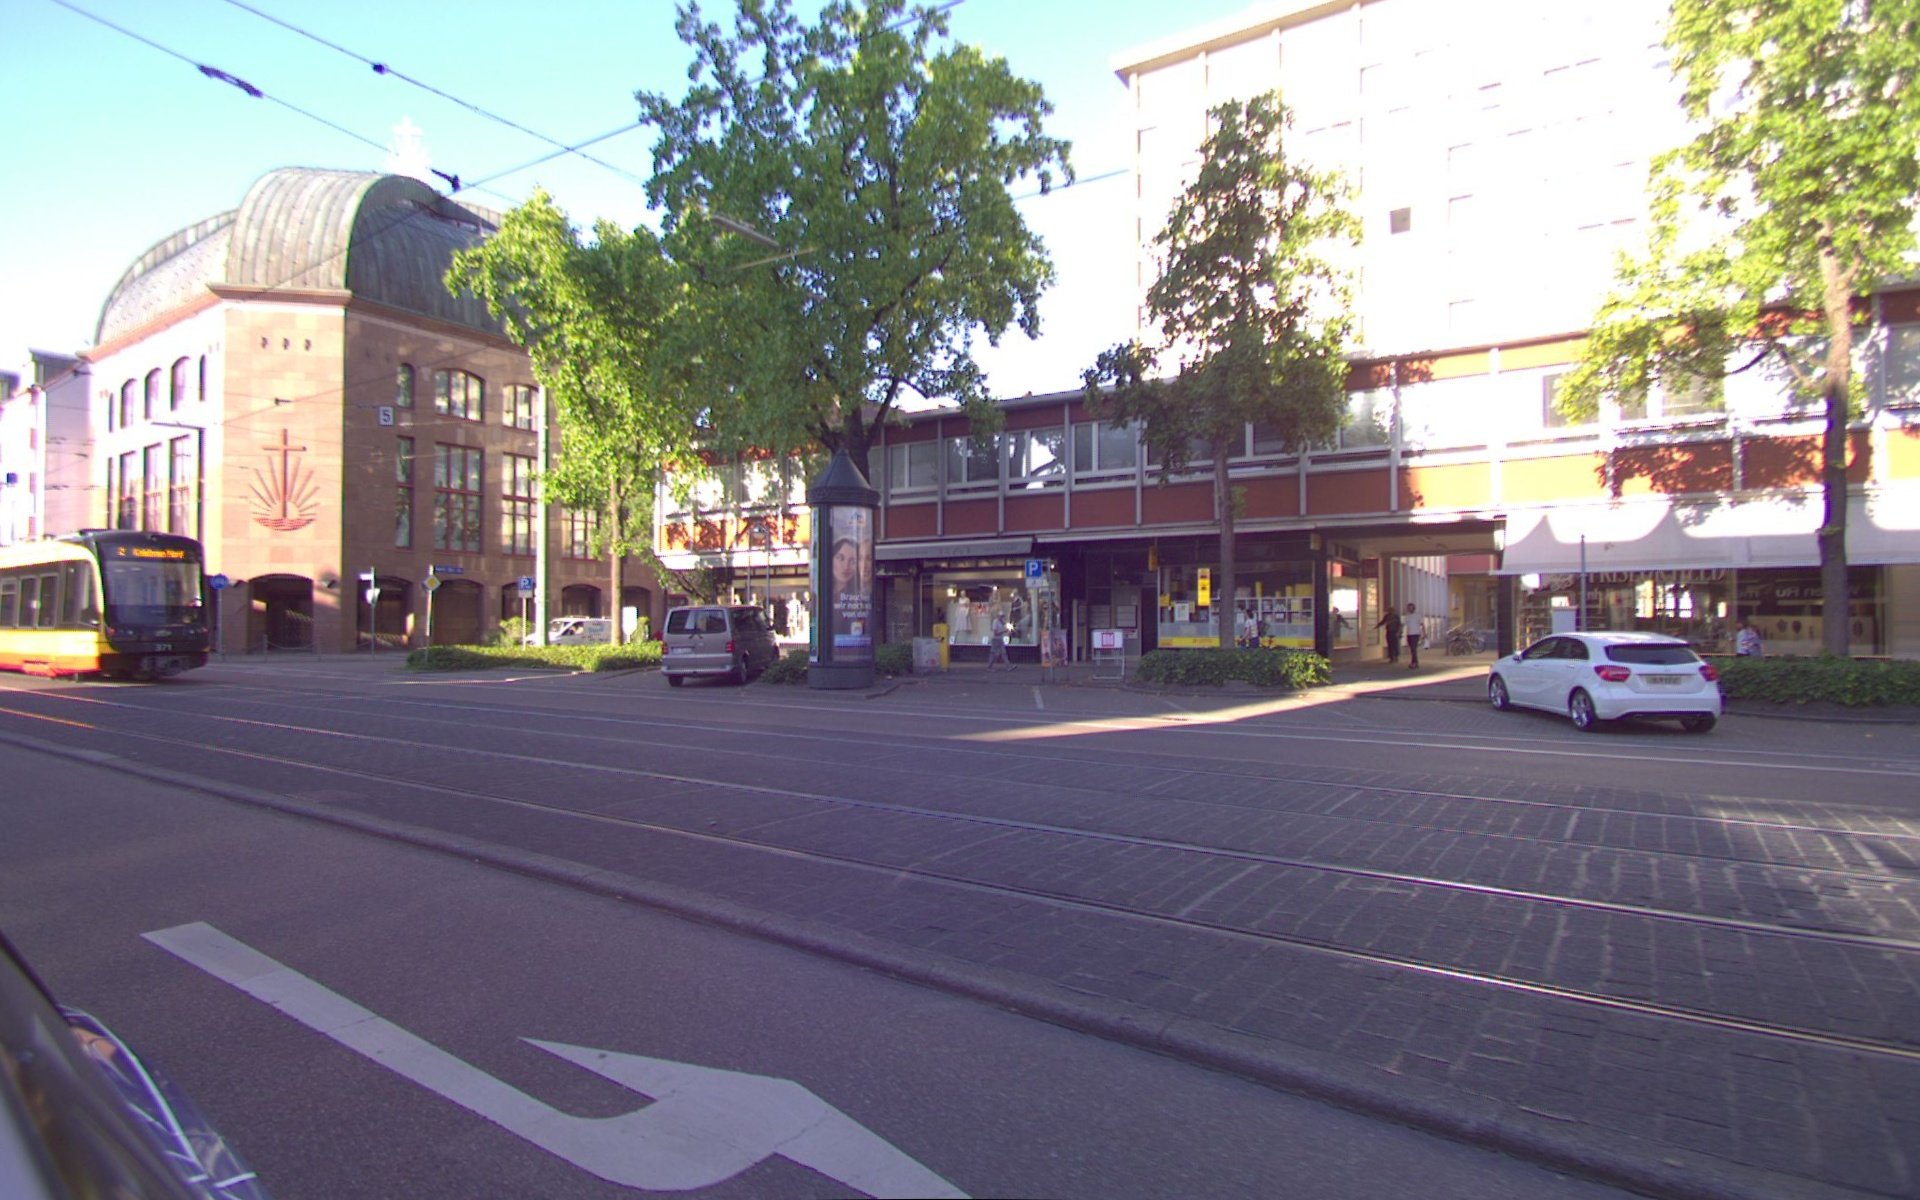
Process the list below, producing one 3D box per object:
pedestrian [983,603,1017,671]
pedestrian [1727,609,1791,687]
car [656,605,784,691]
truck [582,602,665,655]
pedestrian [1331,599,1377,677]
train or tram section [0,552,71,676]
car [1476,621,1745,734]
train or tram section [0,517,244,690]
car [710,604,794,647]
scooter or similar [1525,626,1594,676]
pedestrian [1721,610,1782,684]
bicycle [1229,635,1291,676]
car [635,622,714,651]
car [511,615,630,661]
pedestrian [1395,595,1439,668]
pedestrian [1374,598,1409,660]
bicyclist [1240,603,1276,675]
[{"bbox_3d":[1.146,1.047,28.834,0.889,1.892,0.917,0,-2,6],"label":"pedestrian"},{"bbox_3d":[15.991,0.947,20.279,0.897,1.509,0.682,-1,-2,33],"label":"pedestrian"},{"bbox_3d":[-6.020,1.123,26.007,1.830,1.943,5.117,0,0,3],"label":"car"},{"bbox_3d":[-18.460,1.570,55.515,4.514,2.784,1.837,-1,-2,31],"label":"truck"},{"bbox_3d":[9.805,0.928,25.156,0.897,1.892,0.909,-1,-2,33],"label":"pedestrian"},{"bbox_3d":[-32.181,0.462,32.661,11.100,3.578,2.652,-1,-2,35],"label":"train or tram section"},{"bbox_3d":[10.069,1.124,16.122,1.744,1.440,4.264,-1,0,4],"label":"car"},{"bbox_3d":[-22.407,0.178,25.724,12.811,3.578,2.652,-1,-2,35],"label":"train or tram section"},{"bbox_3d":[-13.009,1.592,63.221,5.397,2.562,1.836,-1,-2,33],"label":"car"},{"bbox_3d":[13.777,1.162,23.256,1.333,1.102,0.470,-1,-1,33],"label":"scooter or similar"},{"bbox_3d":[16.318,0.964,20.877,0.897,1.481,0.682,-1,-2,33],"label":"pedestrian"},{"bbox_3d":[7.757,1.425,26.196,1.479,1.033,0.491,-1,-2,9],"label":"bicycle"},{"bbox_3d":[-16.479,2.085,58.388,4.514,1.585,1.837,-1,-2,31],"label":"car"},{"bbox_3d":[-18.400,1.773,48.023,2.126,1.982,4.939,2,0,33],"label":"car"},{"bbox_3d":[12.703,0.873,28.129,0.993,1.963,0.890,-1,-2,33],"label":"pedestrian"},{"bbox_3d":[13.460,0.914,31.563,0.915,1.892,0.891,-1,-2,29],"label":"pedestrian"},{"bbox_3d":[7.711,1.016,26.214,0.818,1.836,0.490,-1,-2,9],"label":"bicyclist"}]
